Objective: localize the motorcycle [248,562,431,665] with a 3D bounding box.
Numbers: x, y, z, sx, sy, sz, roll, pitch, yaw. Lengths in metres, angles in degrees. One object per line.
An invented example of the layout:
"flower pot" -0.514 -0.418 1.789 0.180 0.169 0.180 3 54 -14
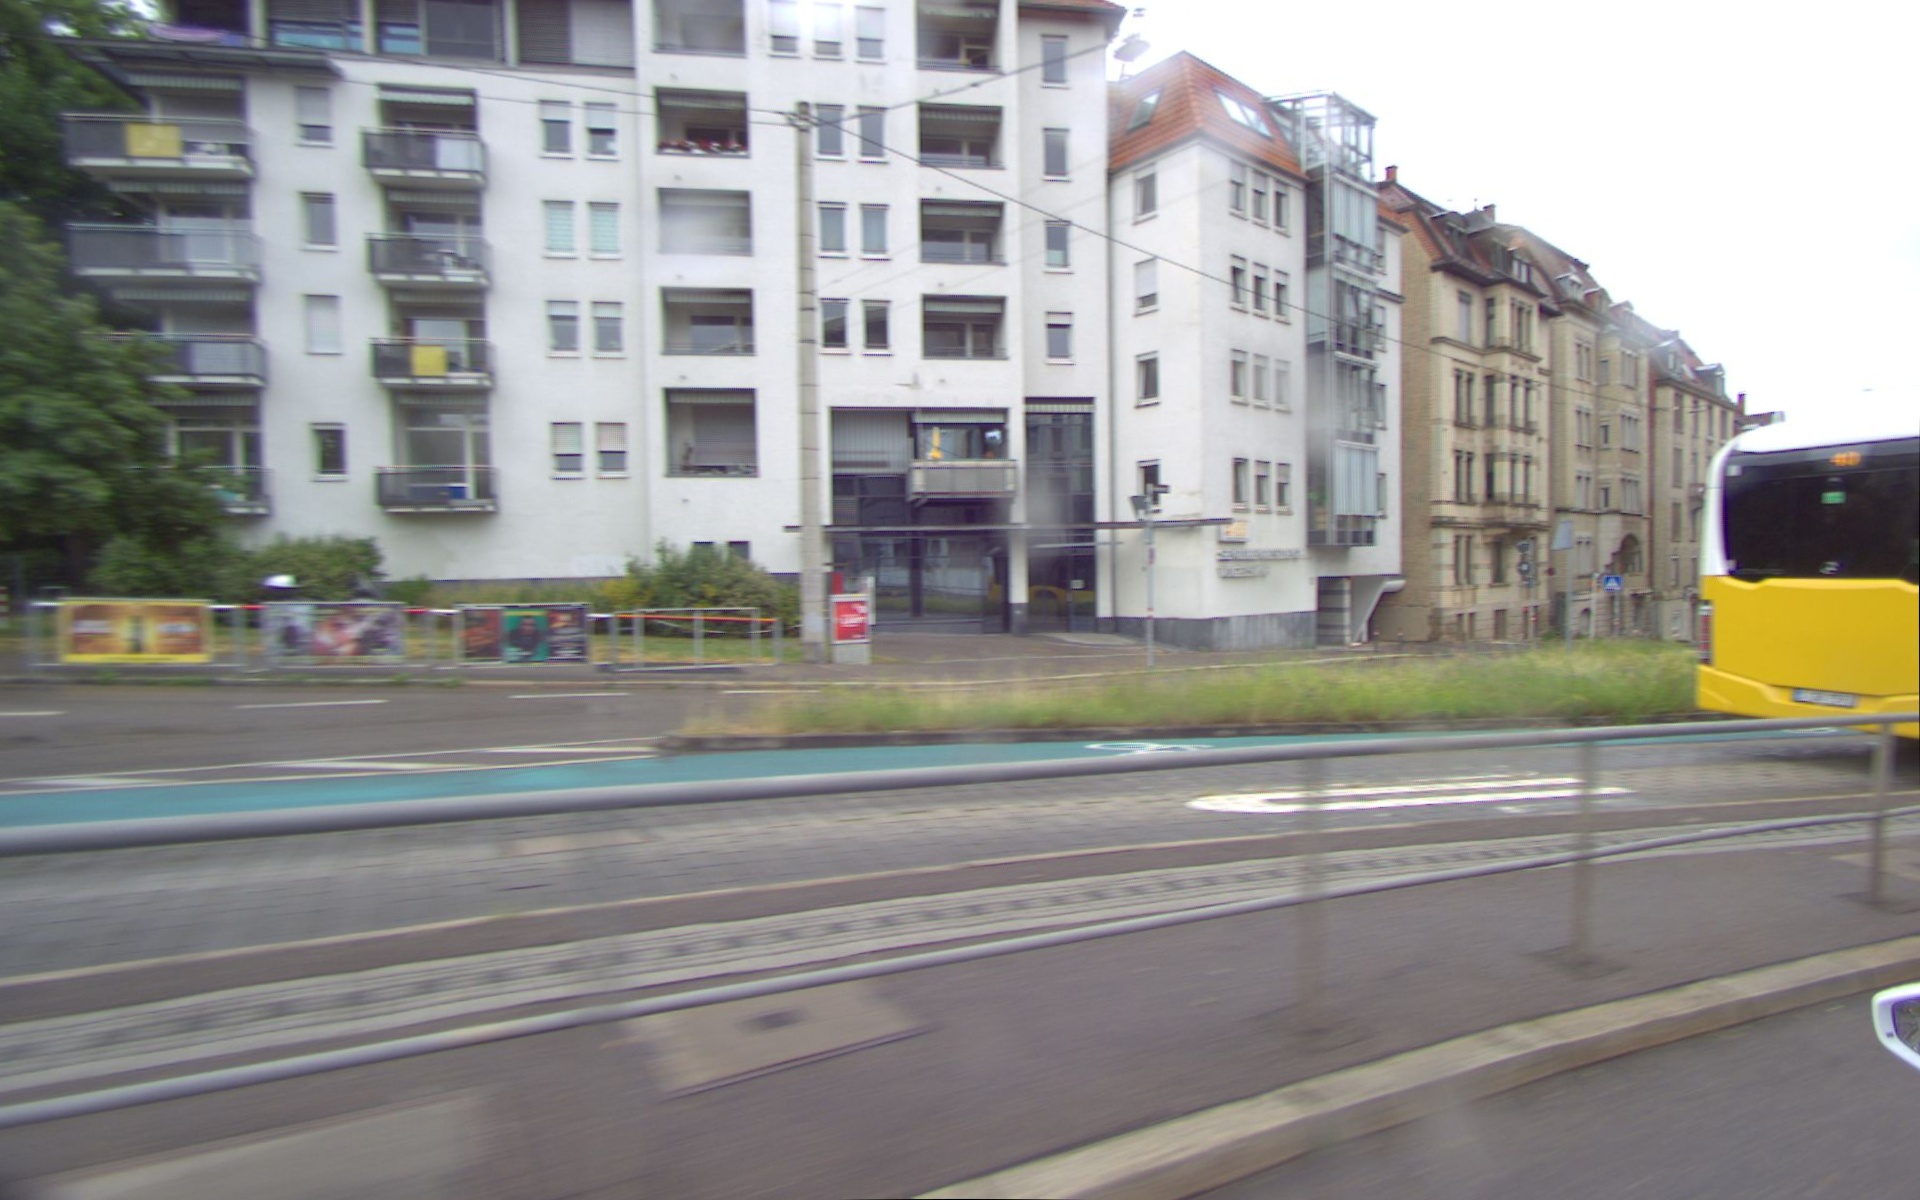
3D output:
"motorcycle" -10.033 0.223 16.332 2.401 1.571 0.697 2 3 -17

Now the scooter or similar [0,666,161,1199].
"scooter or similar" -2.249 0.692 1.508 1.588 1.128 0.430 1 1 -34

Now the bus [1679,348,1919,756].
"bus" 12.278 -0.275 10.750 8.963 3.515 2.589 2 0 -18
